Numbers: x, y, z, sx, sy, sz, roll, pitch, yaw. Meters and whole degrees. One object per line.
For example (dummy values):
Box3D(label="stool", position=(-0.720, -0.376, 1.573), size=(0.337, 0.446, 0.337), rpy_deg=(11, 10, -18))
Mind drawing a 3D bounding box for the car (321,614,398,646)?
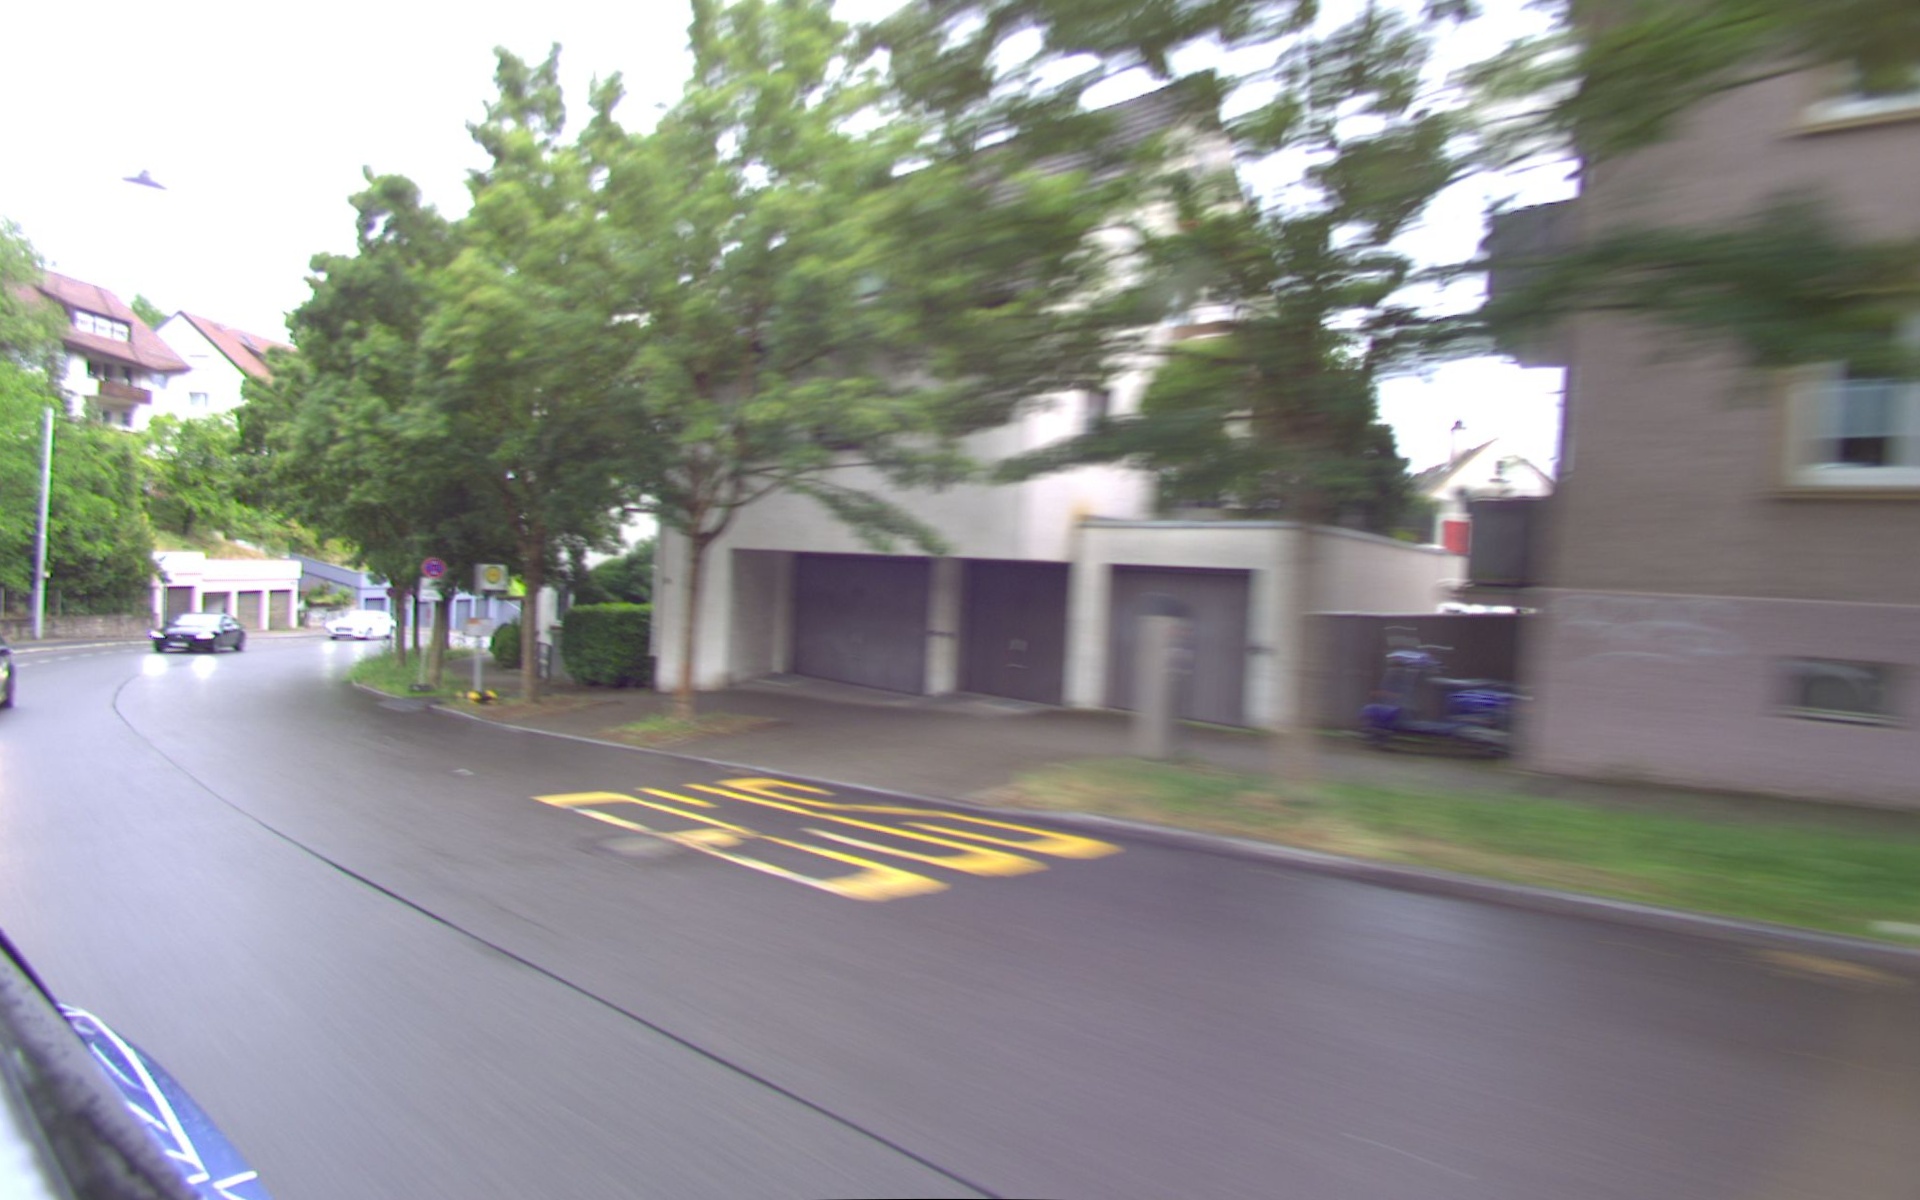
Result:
Box3D(label="car", position=(-33.713, 1.701, 56.939), size=(1.983, 1.674, 4.450), rpy_deg=(1, -2, -5))

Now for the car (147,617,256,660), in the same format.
Box3D(label="car", position=(-27.690, 1.393, 37.102), size=(1.778, 1.500, 4.028), rpy_deg=(1, -2, -15))

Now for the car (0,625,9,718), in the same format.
Box3D(label="car", position=(-15.023, 1.080, 14.637), size=(1.554, 1.463, 3.593), rpy_deg=(2, -2, -39))
